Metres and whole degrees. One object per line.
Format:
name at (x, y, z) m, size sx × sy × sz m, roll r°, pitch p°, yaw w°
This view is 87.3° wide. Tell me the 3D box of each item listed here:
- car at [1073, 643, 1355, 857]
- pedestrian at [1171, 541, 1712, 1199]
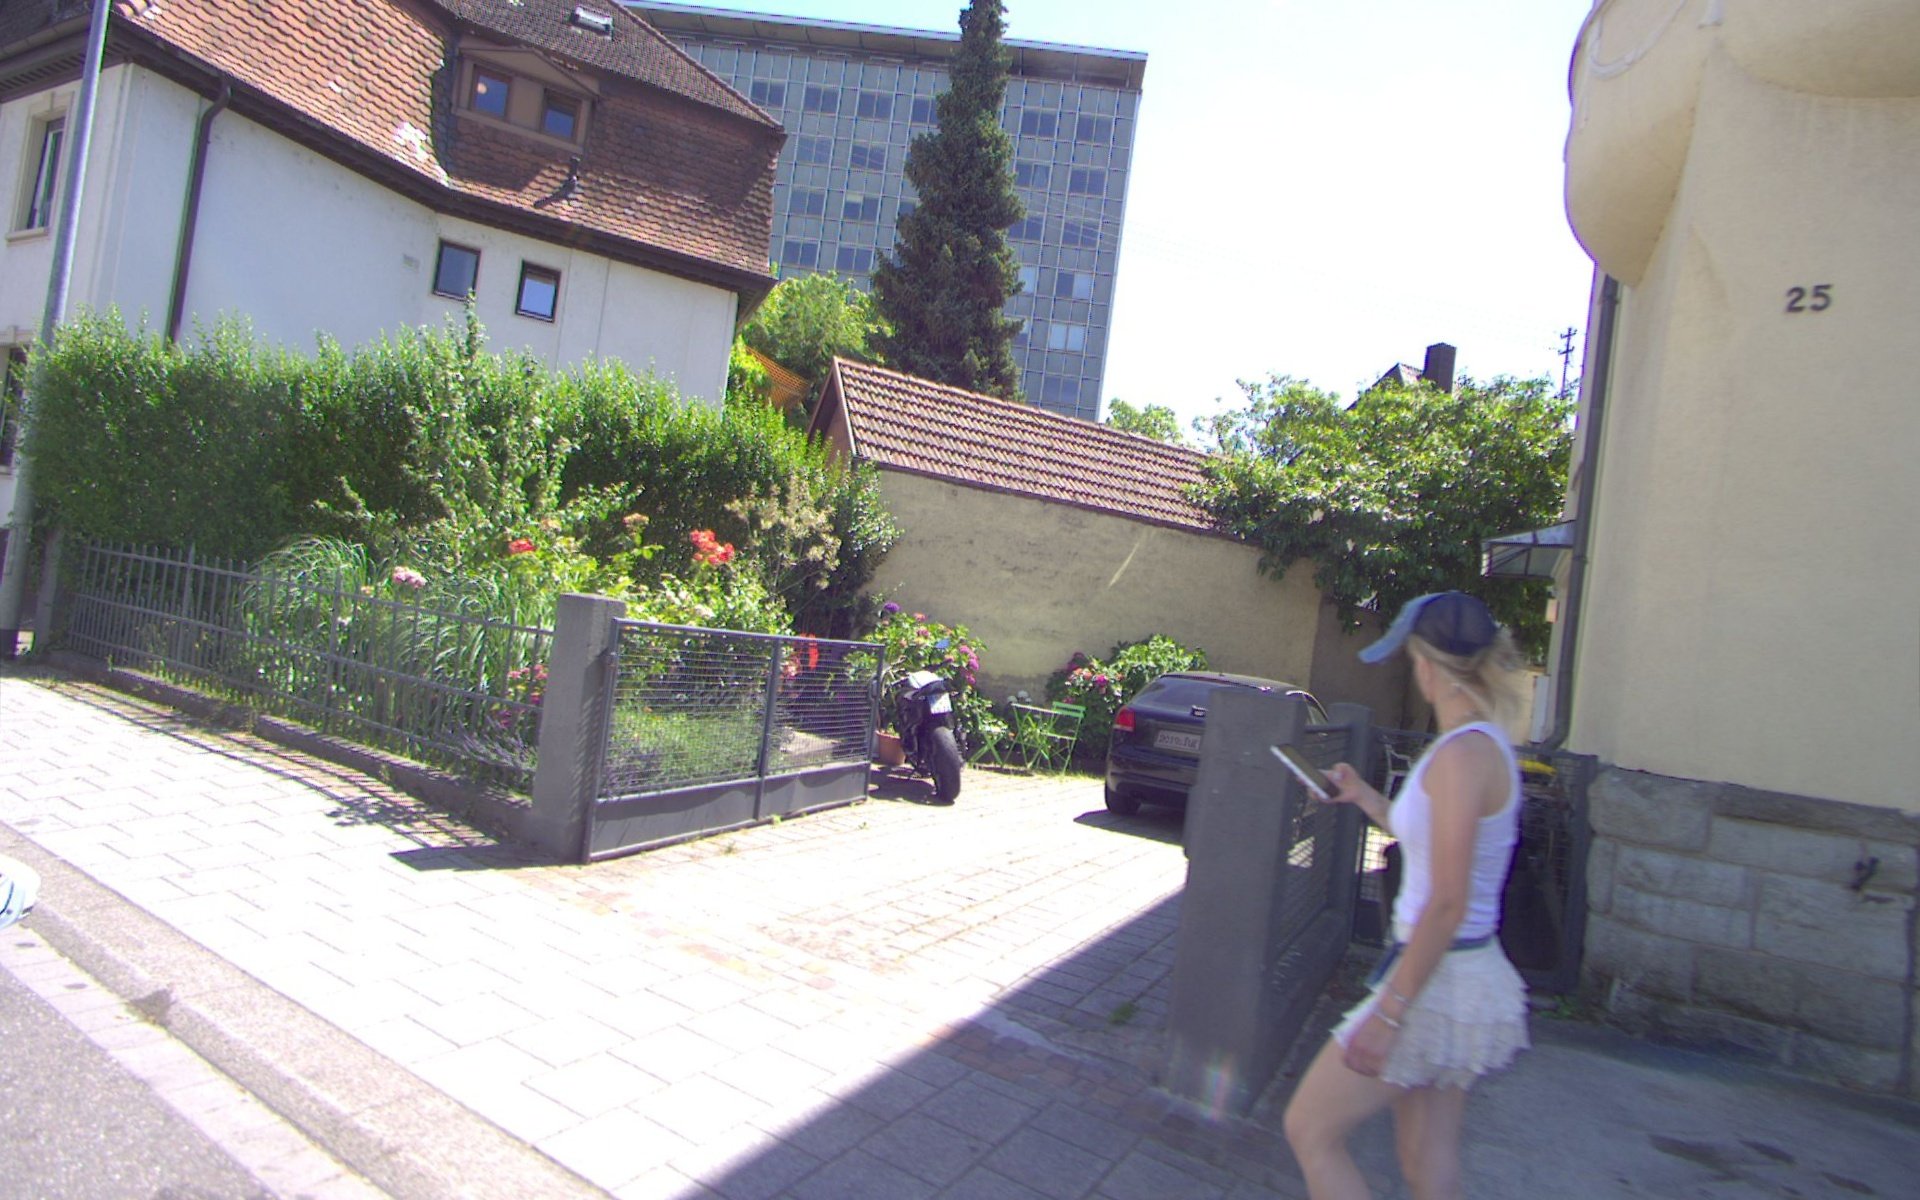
car at (2.624, 1.374, 9.812) m, size 1.738 × 1.503 × 3.335 m, roll 6°, pitch -3°, yaw 29°
pedestrian at (0.944, 0.772, 2.093) m, size 0.758 × 1.663 × 0.625 m, roll 6°, pitch -1°, yaw 27°
